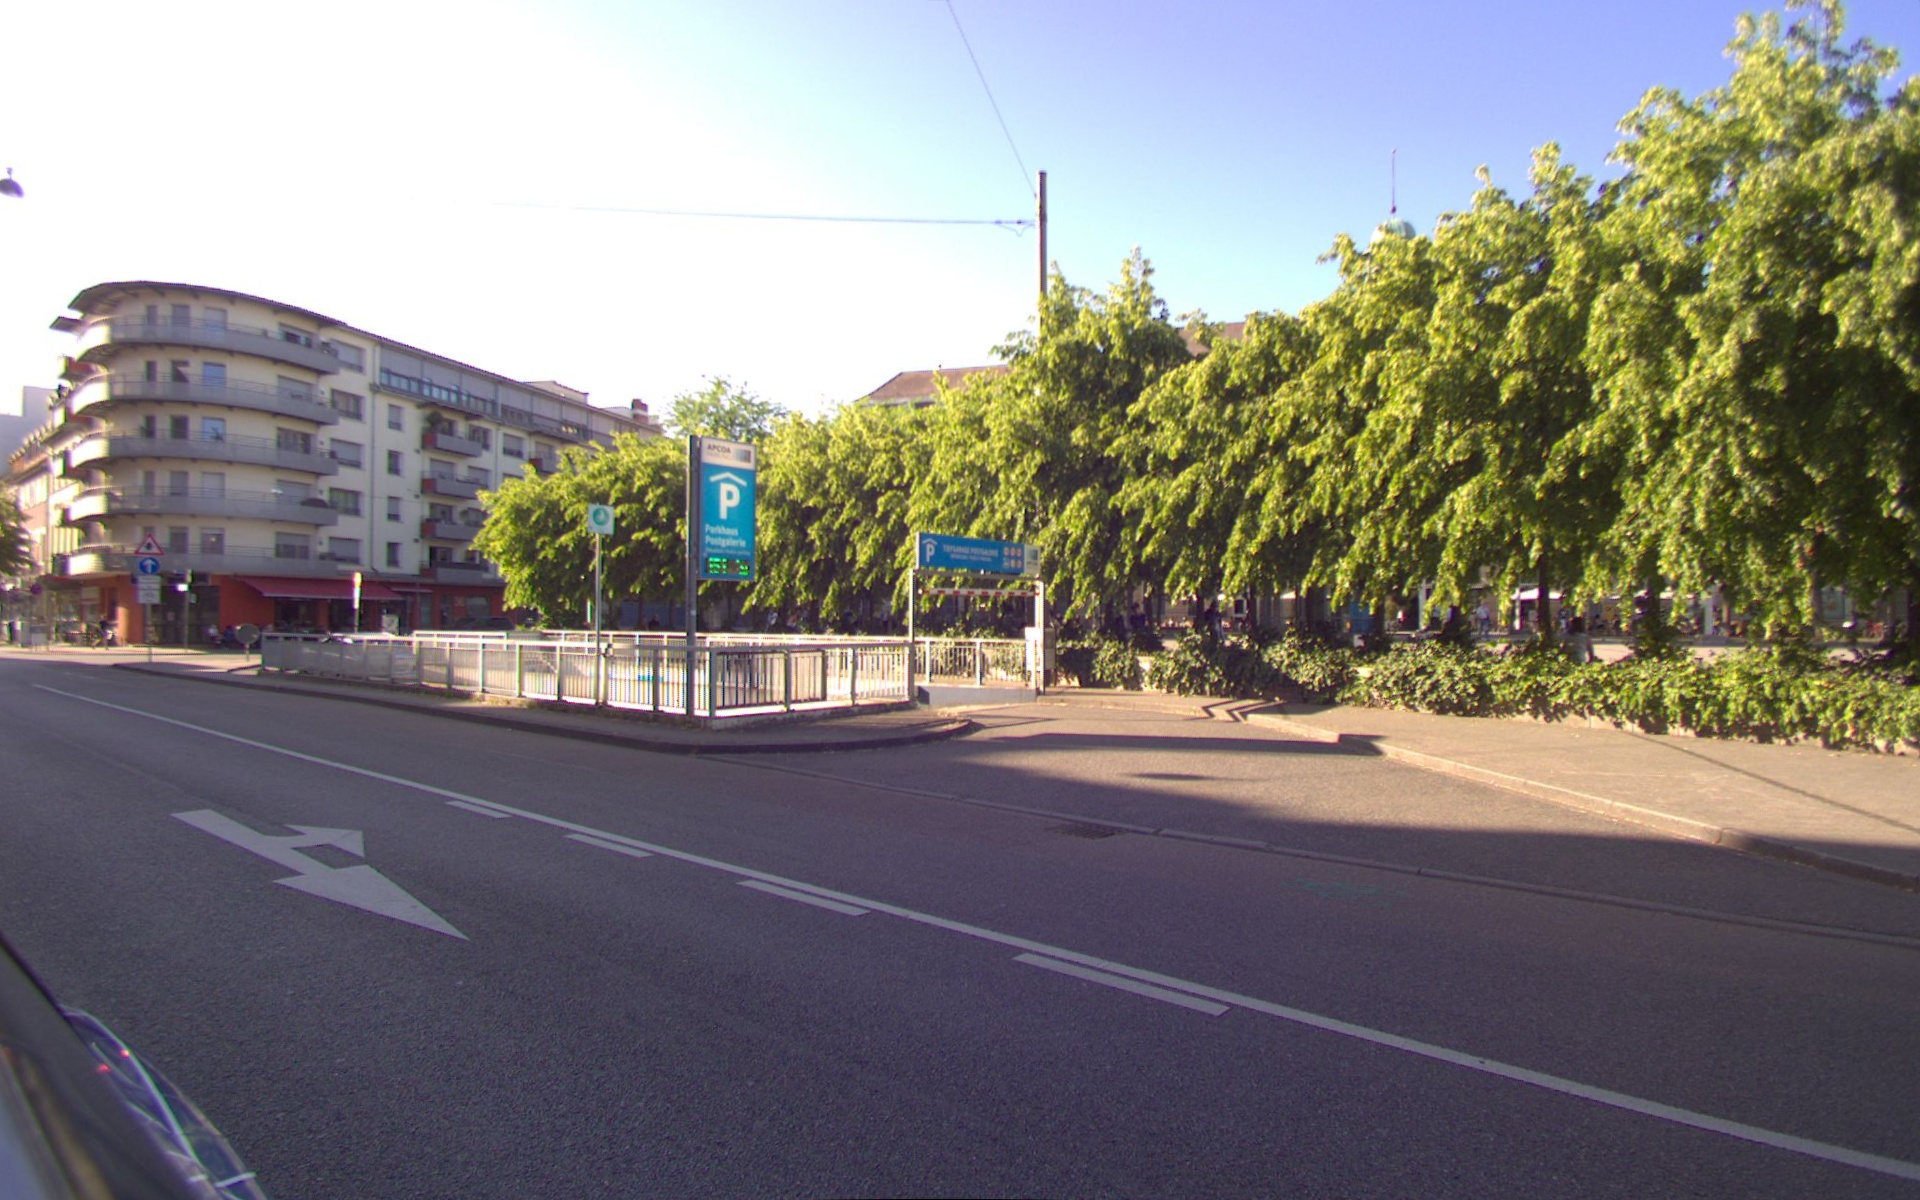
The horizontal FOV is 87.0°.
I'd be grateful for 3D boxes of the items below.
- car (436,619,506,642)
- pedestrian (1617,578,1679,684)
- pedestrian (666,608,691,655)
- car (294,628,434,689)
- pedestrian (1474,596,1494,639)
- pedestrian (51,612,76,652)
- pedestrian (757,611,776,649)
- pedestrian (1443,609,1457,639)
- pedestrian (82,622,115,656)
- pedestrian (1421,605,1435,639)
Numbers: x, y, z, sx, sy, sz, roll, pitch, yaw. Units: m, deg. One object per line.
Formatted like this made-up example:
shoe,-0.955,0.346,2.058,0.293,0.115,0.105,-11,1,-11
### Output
car,-30.504,1.882,63.222,1.742,1.311,3.977,-1,-1,17
pedestrian,11.125,0.489,16.367,0.645,1.661,0.626,-1,0,-35
pedestrian,-10.606,1.174,38.149,0.606,1.734,0.640,-1,0,31
car,-15.326,1.456,25.940,4.263,1.363,1.800,0,-3,41
pedestrian,21.231,0.714,41.013,0.643,1.734,0.604,-1,0,22
pedestrian,-46.626,1.670,52.648,0.888,2.029,0.850,-1,0,40
pedestrian,-8.849,1.371,46.356,0.604,1.734,0.642,-1,0,21
pedestrian,29.373,1.431,60.689,0.642,1.734,0.604,-1,0,20
pedestrian,-41.397,1.856,48.634,0.877,1.607,0.861,-1,0,2
pedestrian,24.242,1.119,52.423,0.643,1.734,0.603,-1,0,26
